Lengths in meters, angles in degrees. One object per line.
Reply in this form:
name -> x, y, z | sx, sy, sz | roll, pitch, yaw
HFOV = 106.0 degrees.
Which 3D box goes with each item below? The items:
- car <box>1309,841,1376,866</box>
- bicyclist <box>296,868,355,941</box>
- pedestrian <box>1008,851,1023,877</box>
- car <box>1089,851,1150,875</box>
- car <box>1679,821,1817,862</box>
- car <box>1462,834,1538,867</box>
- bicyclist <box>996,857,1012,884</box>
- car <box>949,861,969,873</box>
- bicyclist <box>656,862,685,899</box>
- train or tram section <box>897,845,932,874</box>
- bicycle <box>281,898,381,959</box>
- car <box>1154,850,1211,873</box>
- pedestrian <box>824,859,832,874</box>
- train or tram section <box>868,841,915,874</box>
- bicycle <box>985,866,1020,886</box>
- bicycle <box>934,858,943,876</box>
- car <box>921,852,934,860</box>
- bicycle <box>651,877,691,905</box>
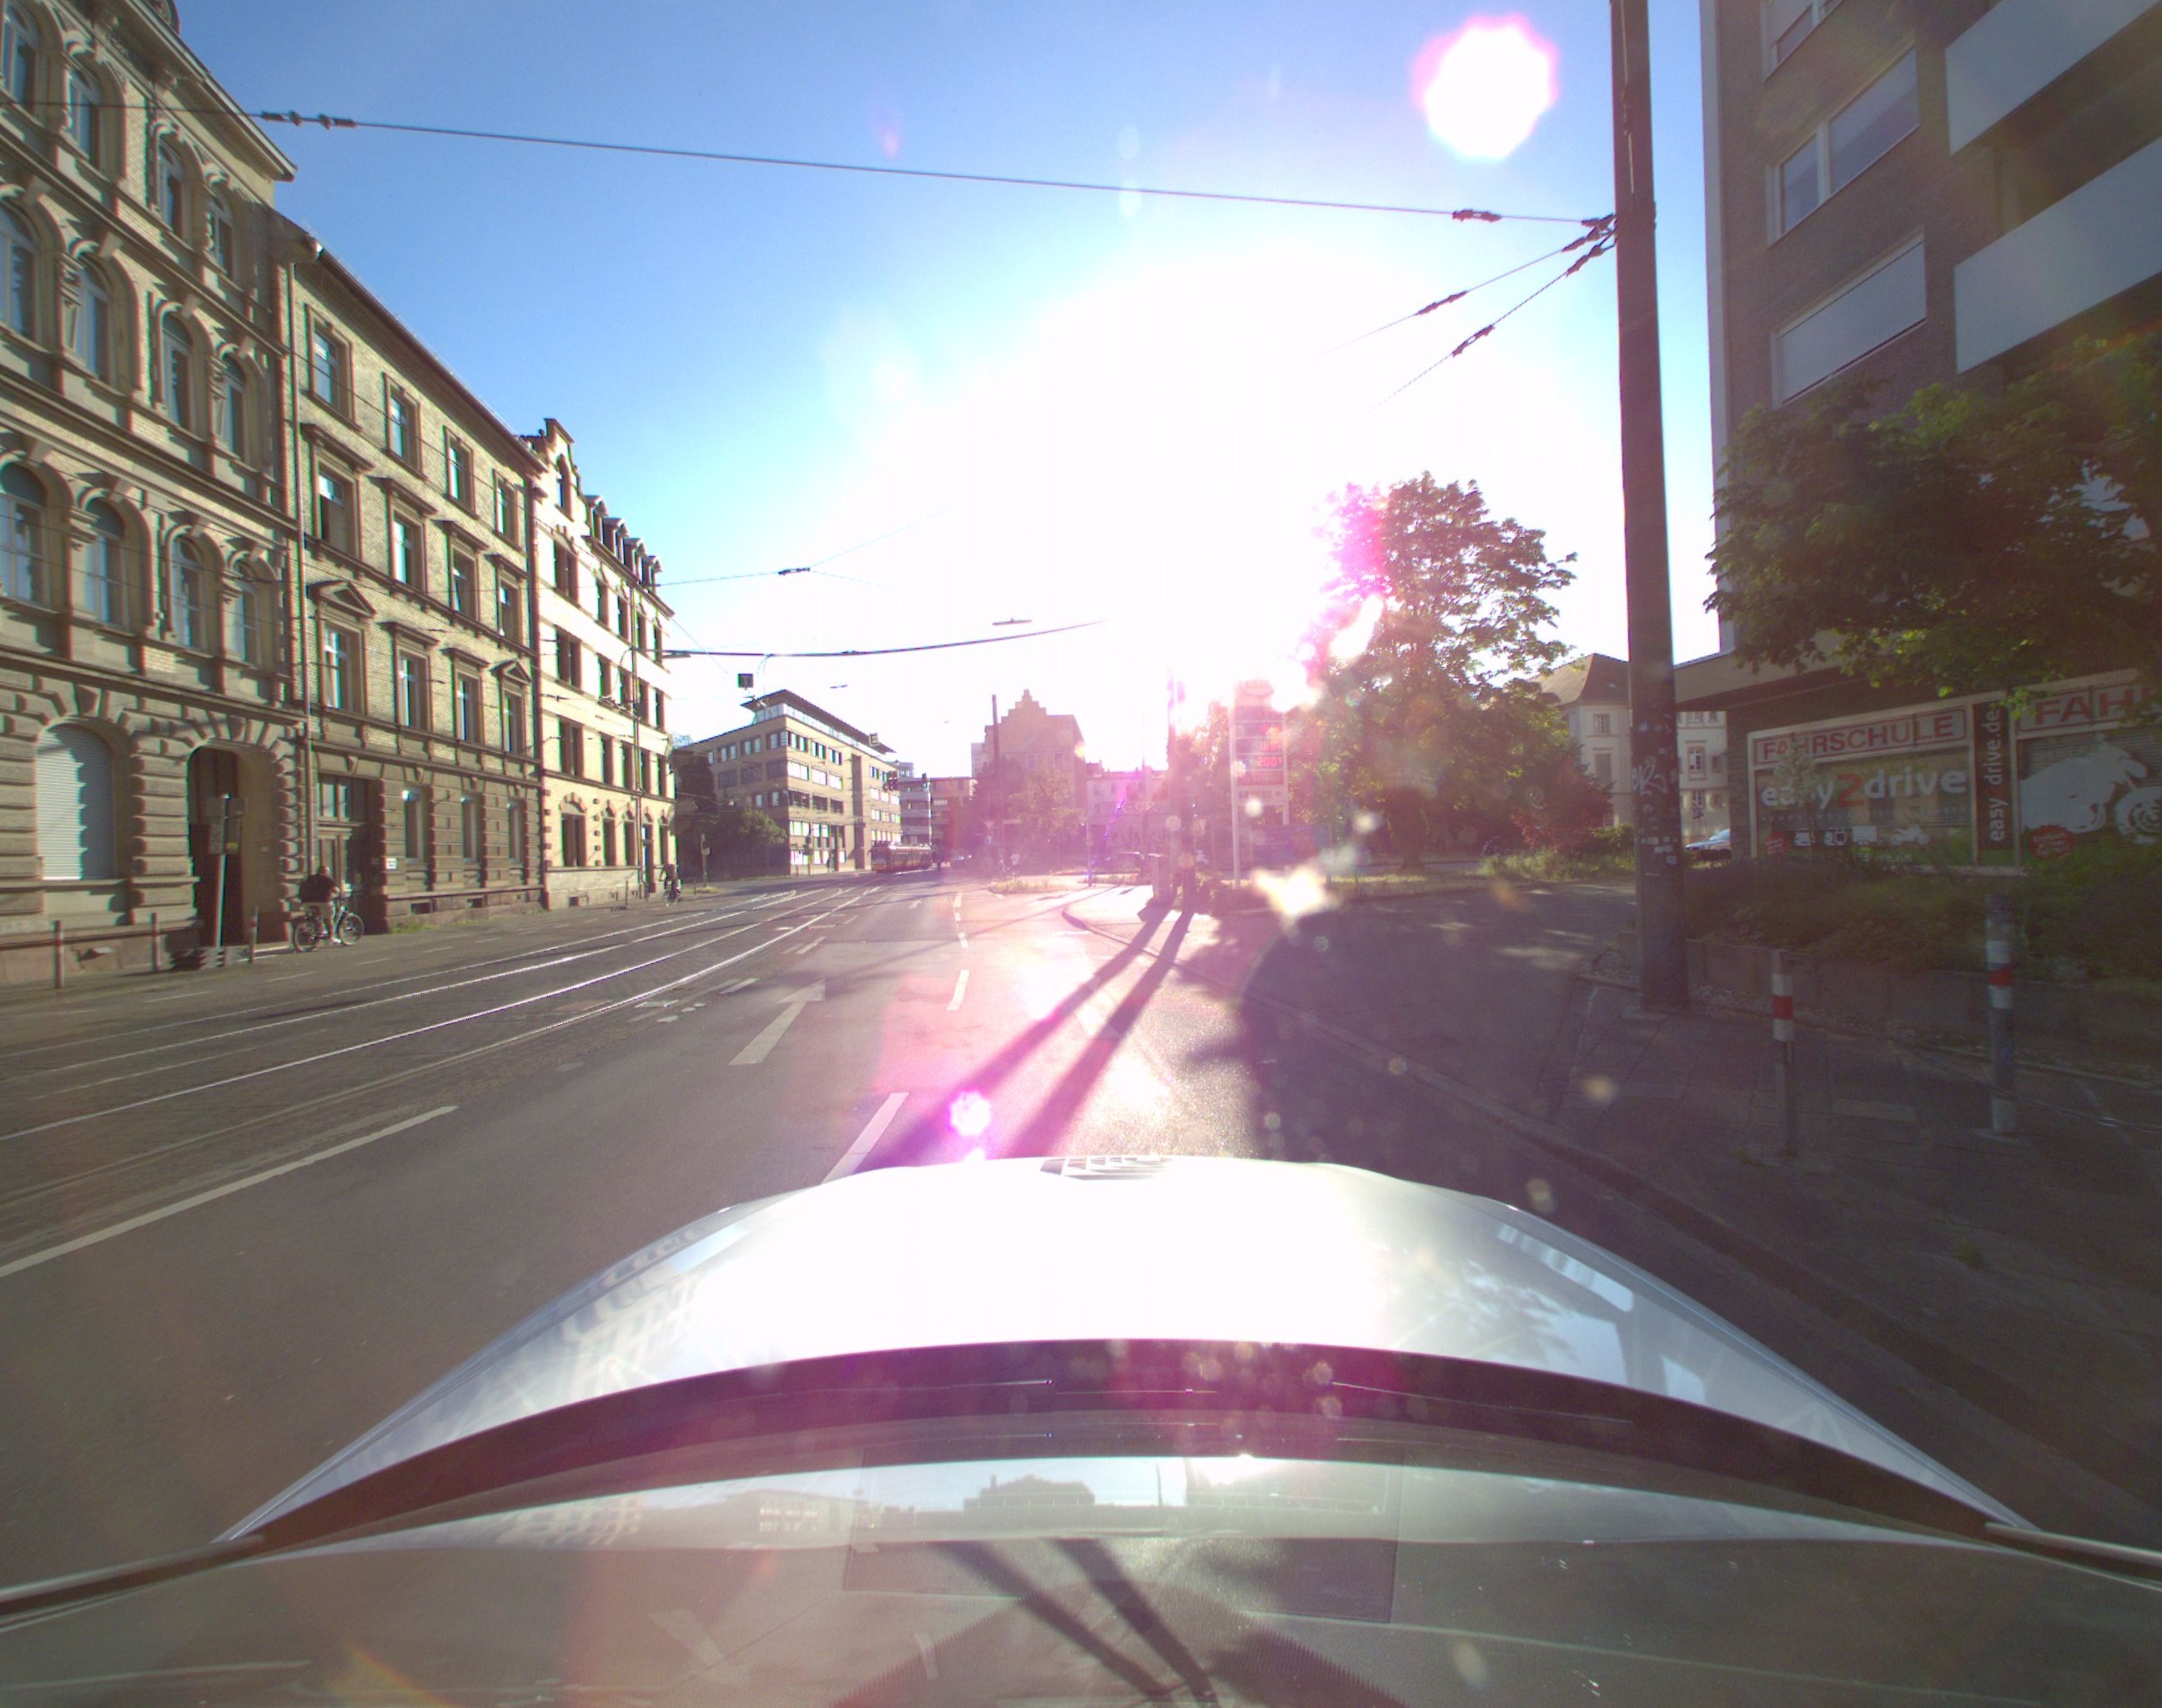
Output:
car -> 17.238, -0.033, 53.796 | 3.962, 1.453, 1.692 | -3, 0, 10
bicyclist -> -16.223, 1.073, 17.509 | 0.591, 1.491, 0.700 | -2, 0, -8
pedestrian -> -4.373, 0.676, 54.309 | 0.924, 1.692, 0.777 | -2, 0, -2
car -> 2.712, 0.628, 57.007 | 3.959, 1.453, 1.816 | -2, 0, 13
car -> 26.139, -0.471, 32.028 | 3.856, 1.420, 1.806 | -2, 0, 5
car -> 27.383, -0.225, 53.321 | 3.965, 2.013, 1.939 | -2, 0, 7
bicyclist -> -4.208, 0.907, 44.425 | 0.802, 1.413, 0.623 | -2, -1, -5
car -> -16.063, 1.696, 107.336 | 1.988, 1.464, 3.997 | -3, 0, -2
bicyclist -> -17.431, 1.101, 34.628 | 0.843, 1.514, 0.799 | -2, 0, -11
train or tram section -> -22.549, 0.739, 110.826 | 2.215, 3.580, 12.206 | -2, 0, 0
bicycle -> -16.268, 1.581, 17.727 | 0.501, 1.132, 2.118 | -2, 0, -10
car -> 7.488, 0.543, 59.748 | 3.960, 1.507, 1.678 | -2, 0, 12
pedestrian -> -32.625, 1.603, 105.088 | 0.803, 1.842, 0.736 | -2, 0, 0
train or tram section -> -22.588, 0.395, 98.083 | 2.234, 3.574, 14.274 | -3, 0, 0
bicycle -> -4.270, 1.219, 44.416 | 1.830, 0.984, 0.733 | -3, 0, -5
bicycle -> -14.700, 1.293, 84.022 | 0.563, 1.806, 1.358 | -2, 0, 0
car -> -28.948, 0.322, 153.804 | 1.789, 1.409, 3.998 | -2, 0, -1
bicycle -> -17.389, 1.563, 34.604 | 0.946, 1.097, 1.991 | -2, 0, -11
